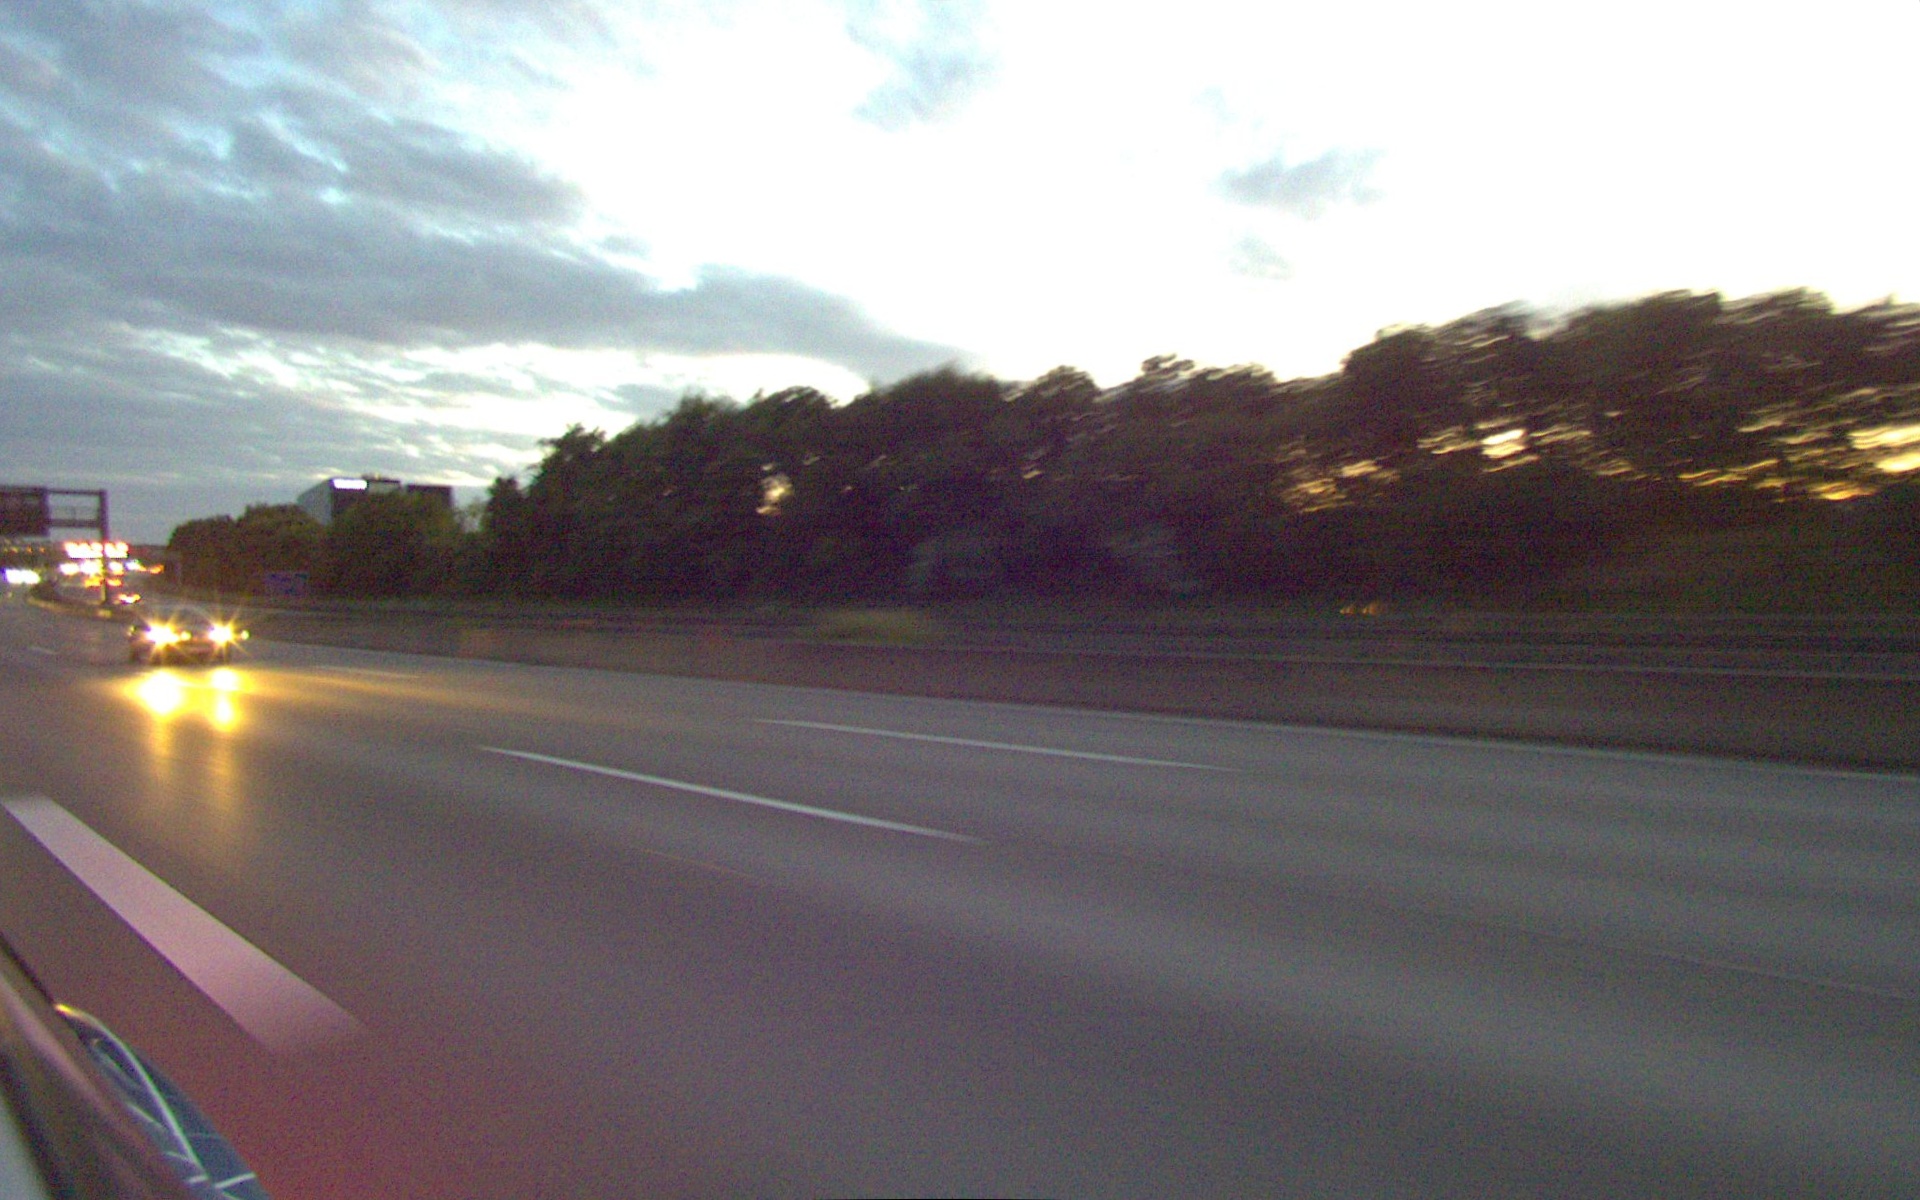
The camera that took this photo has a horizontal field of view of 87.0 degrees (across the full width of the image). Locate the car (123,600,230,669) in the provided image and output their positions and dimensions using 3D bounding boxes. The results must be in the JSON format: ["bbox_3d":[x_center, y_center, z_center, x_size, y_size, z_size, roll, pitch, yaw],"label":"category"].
[{"bbox_3d":[-20.516,0.831,26.454,4.002,1.490,1.693,3,3,45],"label":"car"}]

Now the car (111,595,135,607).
[{"bbox_3d":[-110.865,0.129,134.058,4.153,1.430,1.971,1,1,44],"label":"car"}]
